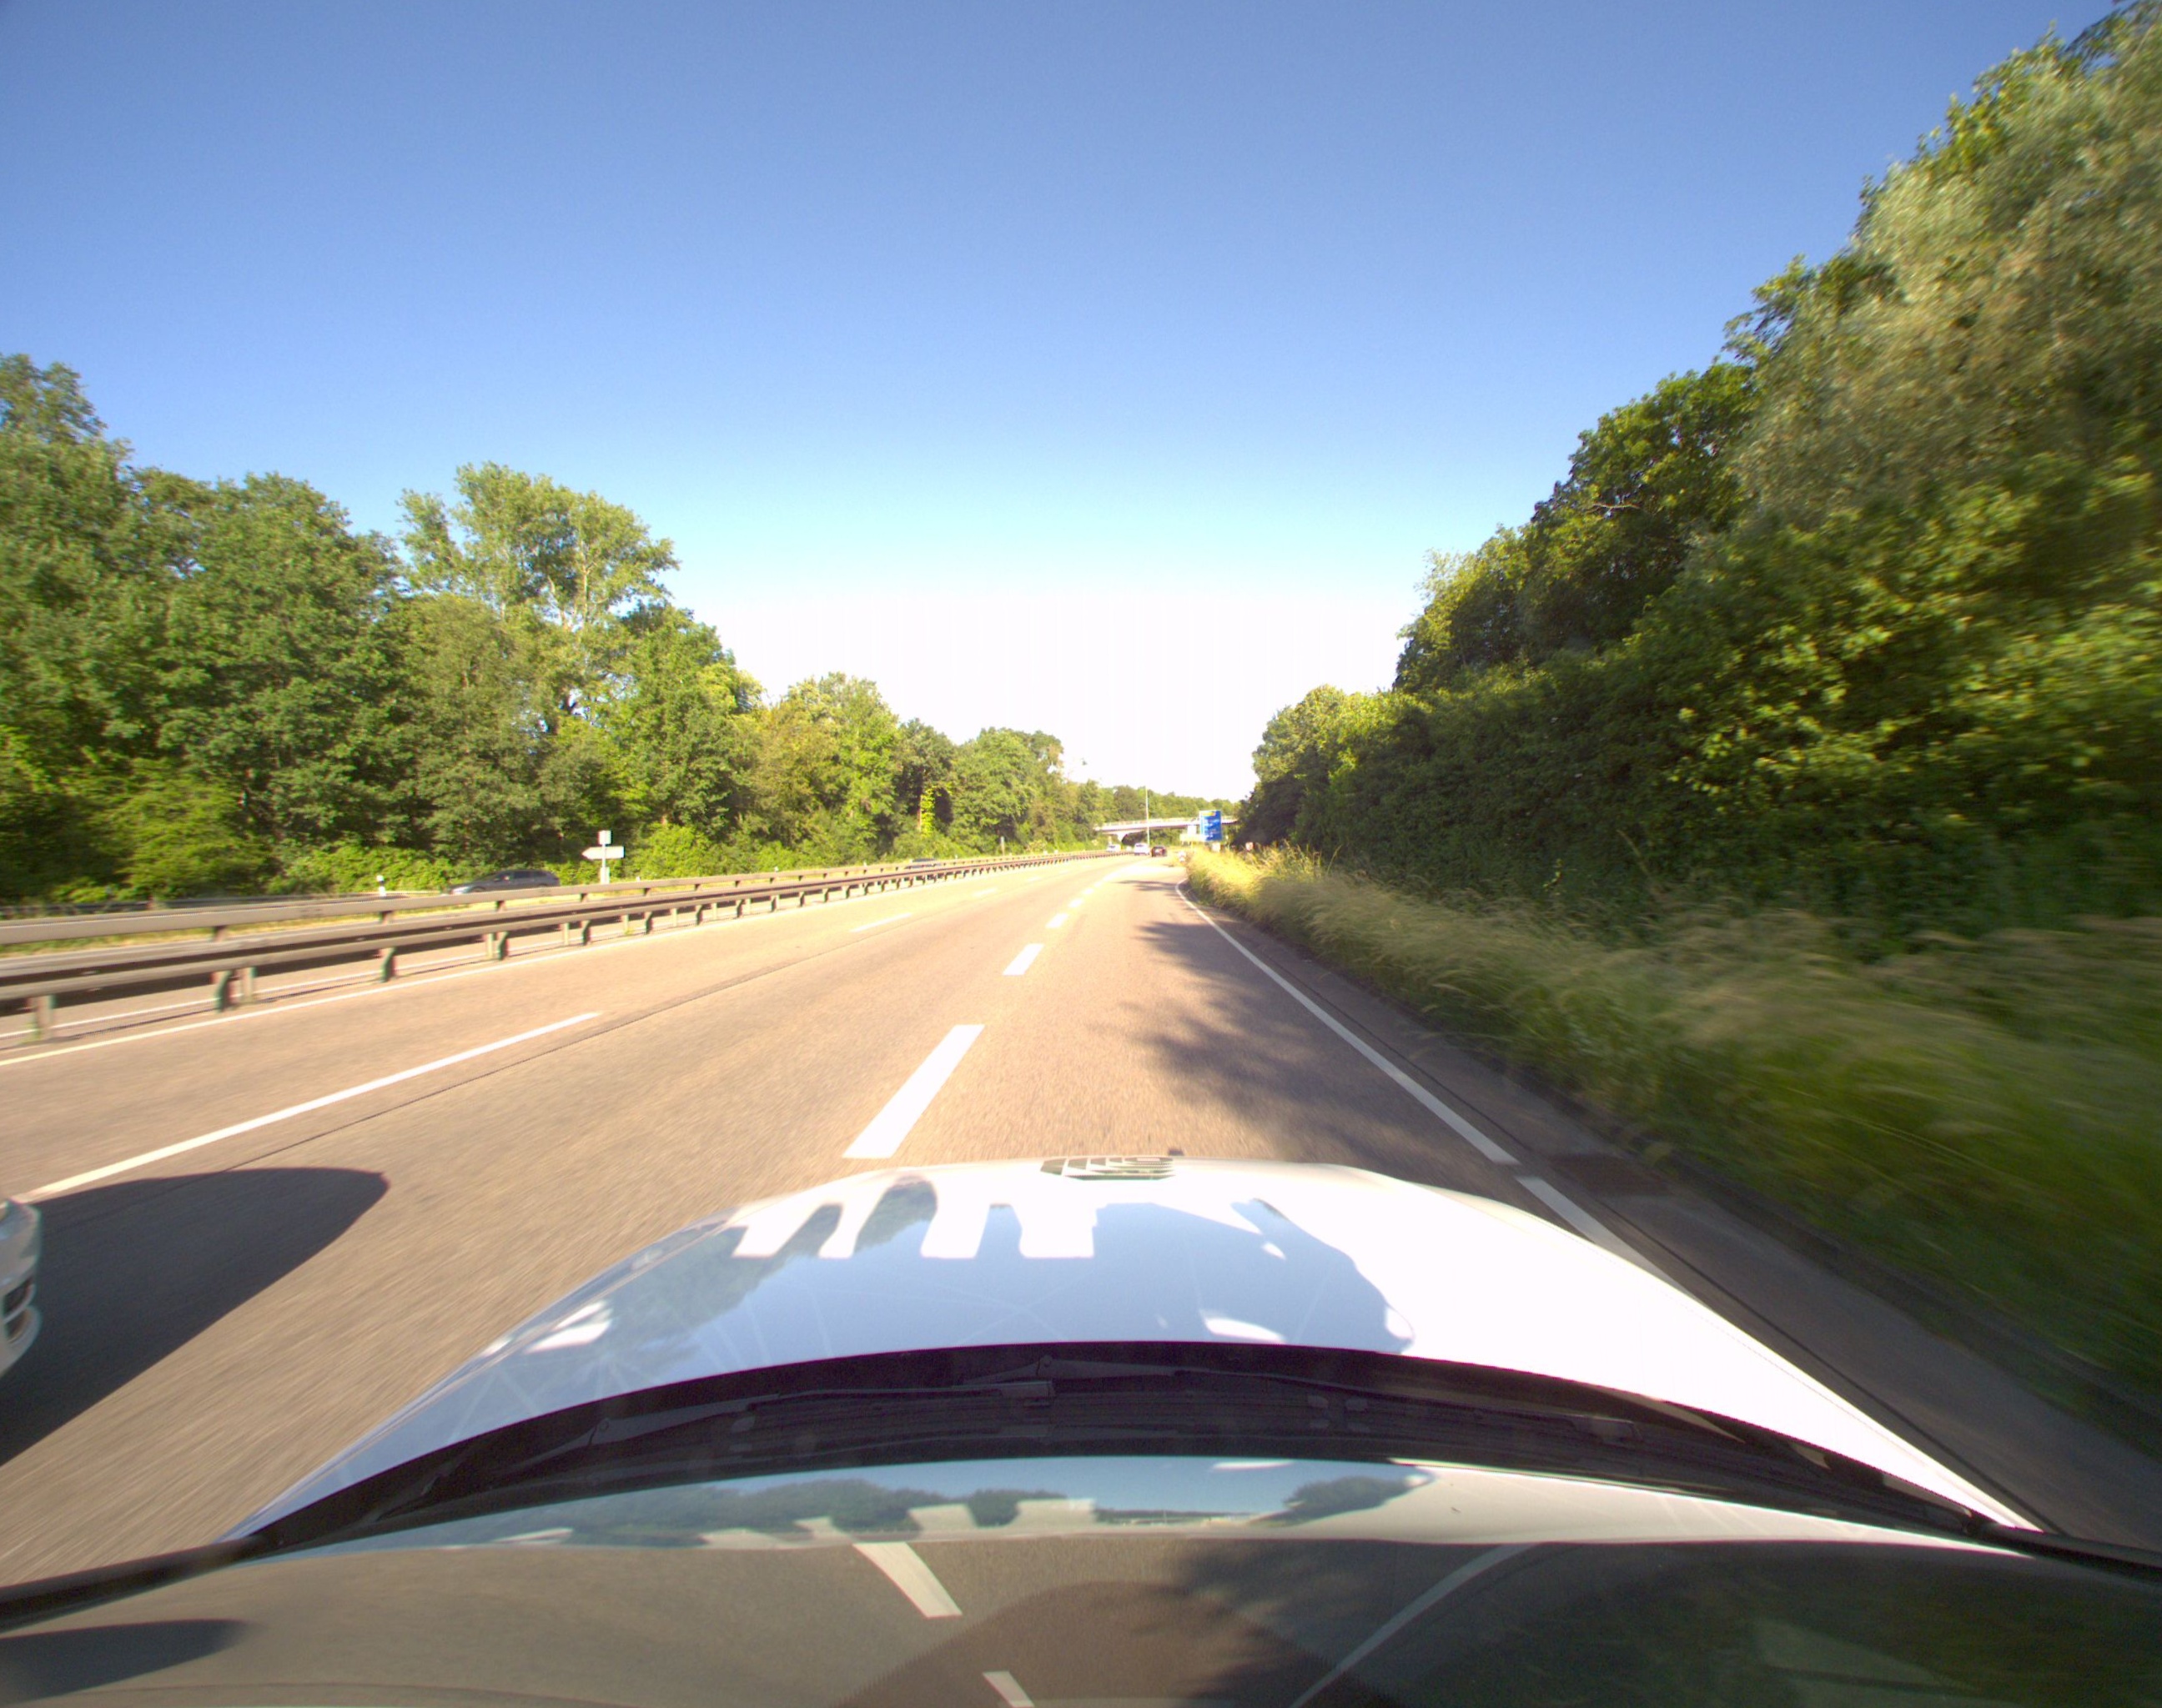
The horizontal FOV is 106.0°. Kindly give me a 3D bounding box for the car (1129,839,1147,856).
[{"bbox_3d":[8.375,-0.944,119.743,1.980,2.277,4.013,-2,0,12],"label":"car"}]

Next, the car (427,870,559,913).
[{"bbox_3d":[-27.815,1.717,38.699,1.975,1.860,4.692,-2,-1,25],"label":"car"}]

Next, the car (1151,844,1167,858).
[{"bbox_3d":[10.276,-0.399,107.480,1.728,1.662,3.957,-2,0,10],"label":"car"}]

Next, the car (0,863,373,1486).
[{"bbox_3d":[-3.676,0.814,0.219,1.922,1.508,5.602,-1,0,2],"label":"car"}]
